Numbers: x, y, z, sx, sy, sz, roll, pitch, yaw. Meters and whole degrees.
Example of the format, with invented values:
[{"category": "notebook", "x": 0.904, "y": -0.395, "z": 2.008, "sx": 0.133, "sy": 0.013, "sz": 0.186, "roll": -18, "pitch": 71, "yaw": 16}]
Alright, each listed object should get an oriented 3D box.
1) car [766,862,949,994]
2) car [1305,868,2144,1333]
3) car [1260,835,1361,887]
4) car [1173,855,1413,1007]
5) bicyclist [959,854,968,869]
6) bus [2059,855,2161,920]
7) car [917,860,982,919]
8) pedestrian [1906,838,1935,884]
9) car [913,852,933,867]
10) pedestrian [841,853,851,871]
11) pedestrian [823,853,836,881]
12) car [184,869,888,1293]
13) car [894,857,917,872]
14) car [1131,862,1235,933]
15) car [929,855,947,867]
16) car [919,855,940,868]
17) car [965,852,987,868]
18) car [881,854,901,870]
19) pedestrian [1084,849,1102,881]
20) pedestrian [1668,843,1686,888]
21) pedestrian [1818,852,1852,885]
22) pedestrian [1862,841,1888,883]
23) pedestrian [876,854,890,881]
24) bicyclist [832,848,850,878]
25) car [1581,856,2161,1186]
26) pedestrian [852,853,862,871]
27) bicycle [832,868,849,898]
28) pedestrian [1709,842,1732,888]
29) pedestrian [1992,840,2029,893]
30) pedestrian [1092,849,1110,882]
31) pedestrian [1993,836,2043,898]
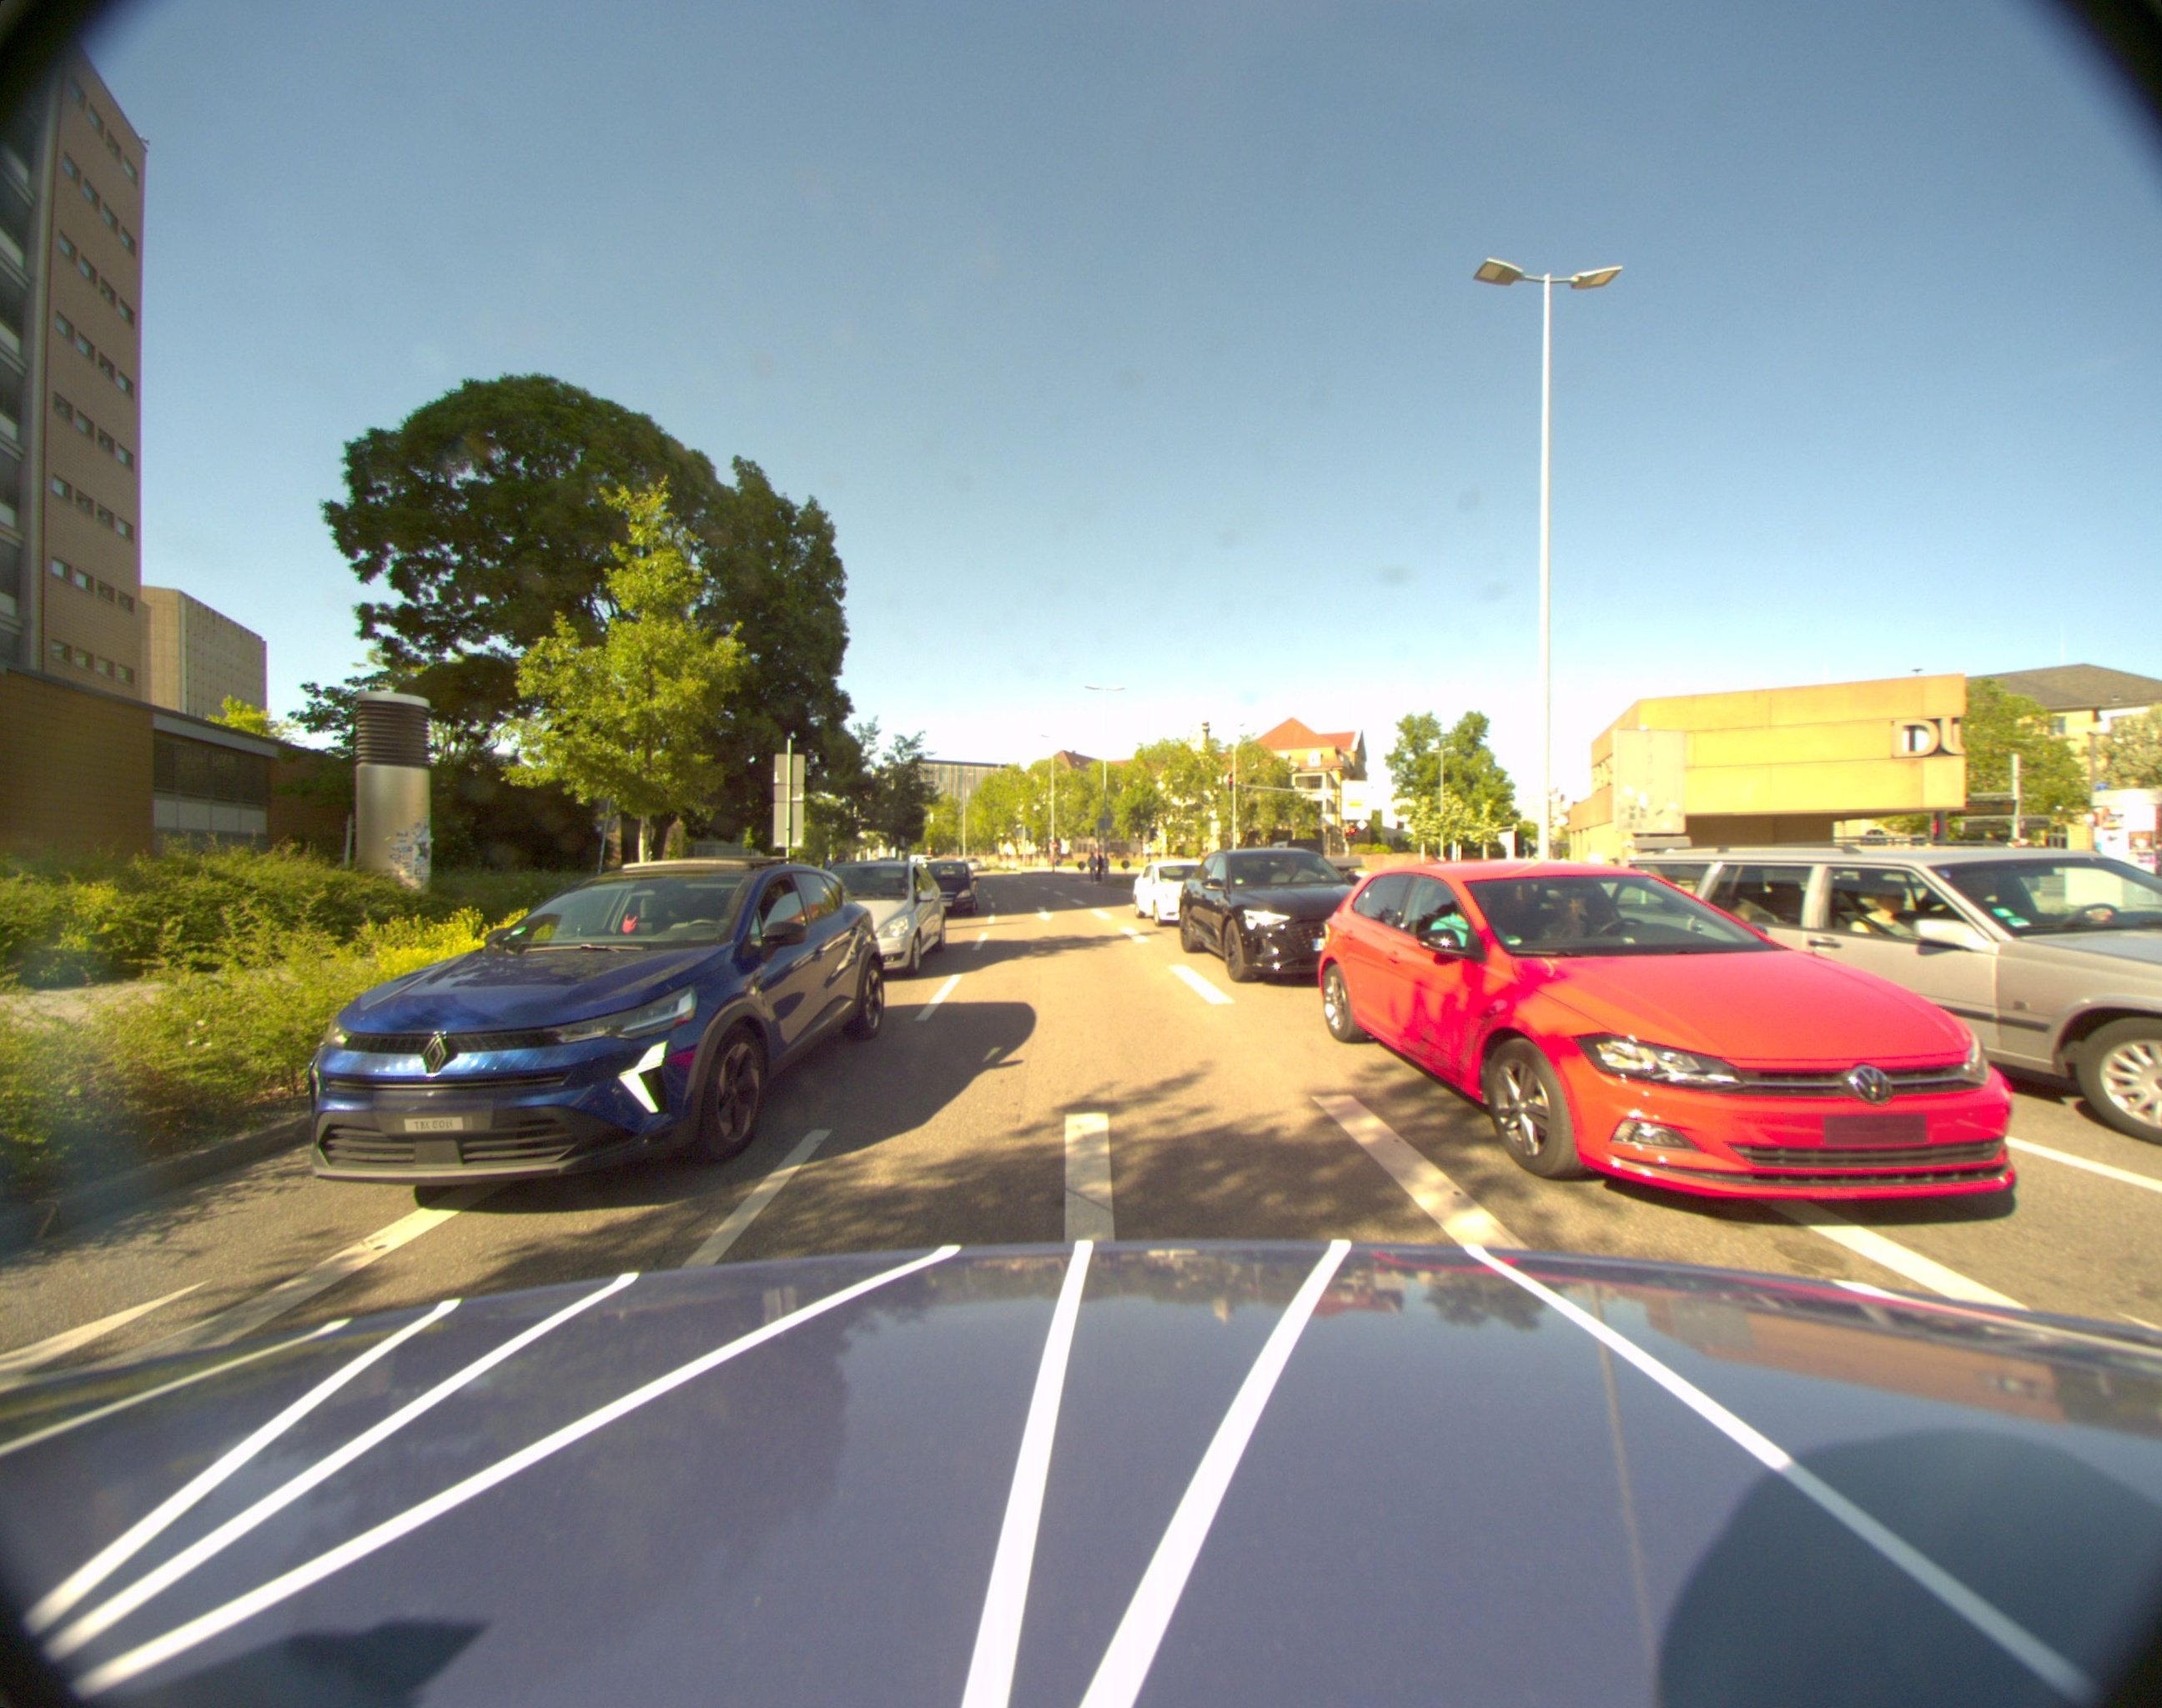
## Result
[{"category": "car", "x": -3.159, "y": 0.948, "z": 11.600, "sx": 1.786, "sy": 1.615, "sz": 4.042, "roll": 0, "pitch": 0, "yaw": -3}, {"category": "car", "x": 2.774, "y": 0.875, "z": 4.516, "sx": 1.674, "sy": 1.464, "sz": 3.853, "roll": -2, "pitch": 0, "yaw": -1}, {"category": "car", "x": 11.017, "y": 0.302, "z": 37.105, "sx": 2.117, "sy": 2.300, "sz": 6.209, "roll": -1, "pitch": 0, "yaw": -10}, {"category": "car", "x": 2.564, "y": 0.827, "z": 10.405, "sx": 1.859, "sy": 1.606, "sz": 4.452, "roll": 0, "pitch": 0, "yaw": -3}, {"category": "bicyclist", "x": -12.323, "y": 0.827, "z": 79.890, "sx": 0.696, "sy": 1.549, "sz": 0.814, "roll": -2, "pitch": 1, "yaw": -24}, {"category": "bus", "x": 21.657, "y": 0.652, "z": 14.041, "sx": 1.646, "sy": 1.234, "sz": 4.181, "roll": 0, "pitch": 0, "yaw": -5}, {"category": "car", "x": -3.834, "y": 0.988, "z": 22.634, "sx": 1.651, "sy": 1.601, "sz": 3.488, "roll": 0, "pitch": 0, "yaw": -6}, {"category": "pedestrian", "x": 33.046, "y": 0.268, "z": 29.919, "sx": 0.645, "sy": 1.766, "sz": 0.468, "roll": -1, "pitch": 1, "yaw": -4}, {"category": "car", "x": -22.070, "y": 0.790, "z": 105.973, "sx": 1.790, "sy": 2.002, "sz": 4.223, "roll": -2, "pitch": 1, "yaw": -26}, {"category": "pedestrian", "x": -25.481, "y": 0.890, "z": 82.400, "sx": 0.823, "sy": 1.906, "sz": 0.770, "roll": -2, "pitch": 1, "yaw": -29}, {"category": "pedestrian", "x": -14.304, "y": 0.721, "z": 43.259, "sx": 0.693, "sy": 1.594, "sz": 0.660, "roll": 0, "pitch": 0, "yaw": -19}, {"category": "car", "x": -2.691, "y": 0.948, "z": 5.070, "sx": 1.705, "sy": 1.596, "sz": 4.084, "roll": -1, "pitch": 0, "yaw": 0}, {"category": "car", "x": -18.574, "y": 1.131, "z": 80.458, "sx": 1.754, "sy": 1.467, "sz": 3.567, "roll": -2, "pitch": 1, "yaw": -23}, {"category": "car", "x": 2.277, "y": 0.926, "z": 17.775, "sx": 1.575, "sy": 1.410, "sz": 3.711, "roll": -1, "pitch": 0, "yaw": -6}, {"category": "car", "x": -18.568, "y": 0.910, "z": 98.676, "sx": 1.598, "sy": 1.596, "sz": 3.066, "roll": -1, "pitch": 0, "yaw": -26}, {"category": "car", "x": -16.777, "y": 0.803, "z": 84.095, "sx": 1.754, "sy": 1.370, "sz": 3.568, "roll": -1, "pitch": 0, "yaw": -21}, {"category": "car", "x": -11.640, "y": 0.669, "z": 84.290, "sx": 1.527, "sy": 1.669, "sz": 3.374, "roll": -2, "pitch": 0, "yaw": -24}, {"category": "car", "x": -21.806, "y": 0.895, "z": 87.074, "sx": 1.830, "sy": 1.842, "sz": 3.745, "roll": 0, "pitch": 0, "yaw": -21}, {"category": "pedestrian", "x": 0.719, "y": 0.633, "z": 44.505, "sx": 0.887, "sy": 1.814, "sz": 0.776, "roll": -2, "pitch": 1, "yaw": -7}, {"category": "pedestrian", "x": 23.988, "y": 0.453, "z": 30.607, "sx": 0.467, "sy": 1.766, "sz": 0.647, "roll": 0, "pitch": 1, "yaw": 29}, {"category": "pedestrian", "x": 30.149, "y": 0.589, "z": 30.389, "sx": 0.645, "sy": 1.303, "sz": 0.763, "roll": -1, "pitch": 0, "yaw": 10}, {"category": "pedestrian", "x": 33.200, "y": 0.338, "z": 31.769, "sx": 0.645, "sy": 1.766, "sz": 0.468, "roll": -1, "pitch": 1, "yaw": -4}, {"category": "pedestrian", "x": -11.794, "y": 0.814, "z": 45.241, "sx": 0.694, "sy": 1.594, "sz": 0.660, "roll": 0, "pitch": 0, "yaw": -25}, {"category": "bicyclist", "x": -10.518, "y": 0.401, "z": 33.299, "sx": 0.723, "sy": 1.271, "sz": 0.906, "roll": 2, "pitch": 0, "yaw": -17}, {"category": "car", "x": 5.784, "y": 0.782, "z": 4.974, "sx": 1.713, "sy": 1.464, "sz": 4.750, "roll": -1, "pitch": 0, "yaw": -3}, {"category": "pedestrian", "x": -24.373, "y": 0.849, "z": 82.607, "sx": 0.823, "sy": 1.906, "sz": 0.770, "roll": -2, "pitch": 1, "yaw": -29}, {"category": "bicycle", "x": -10.544, "y": 1.272, "z": 33.334, "sx": 0.693, "sy": 1.211, "sz": 1.832, "roll": 2, "pitch": 0, "yaw": -17}, {"category": "pedestrian", "x": 24.659, "y": 0.428, "z": 29.298, "sx": 0.644, "sy": 1.766, "sz": 0.618, "roll": 0, "pitch": 1, "yaw": 42}, {"category": "pedestrian", "x": 31.189, "y": 0.415, "z": 25.504, "sx": 0.644, "sy": 1.766, "sz": 0.469, "roll": 0, "pitch": 1, "yaw": 21}, {"category": "pedestrian", "x": 1.141, "y": 0.635, "z": 43.281, "sx": 0.757, "sy": 1.814, "sz": 0.775, "roll": -2, "pitch": 1, "yaw": -17}, {"category": "pedestrian", "x": 27.470, "y": 0.368, "z": 22.278, "sx": 0.646, "sy": 1.778, "sz": 0.667, "roll": -2, "pitch": 1, "yaw": -10}]
